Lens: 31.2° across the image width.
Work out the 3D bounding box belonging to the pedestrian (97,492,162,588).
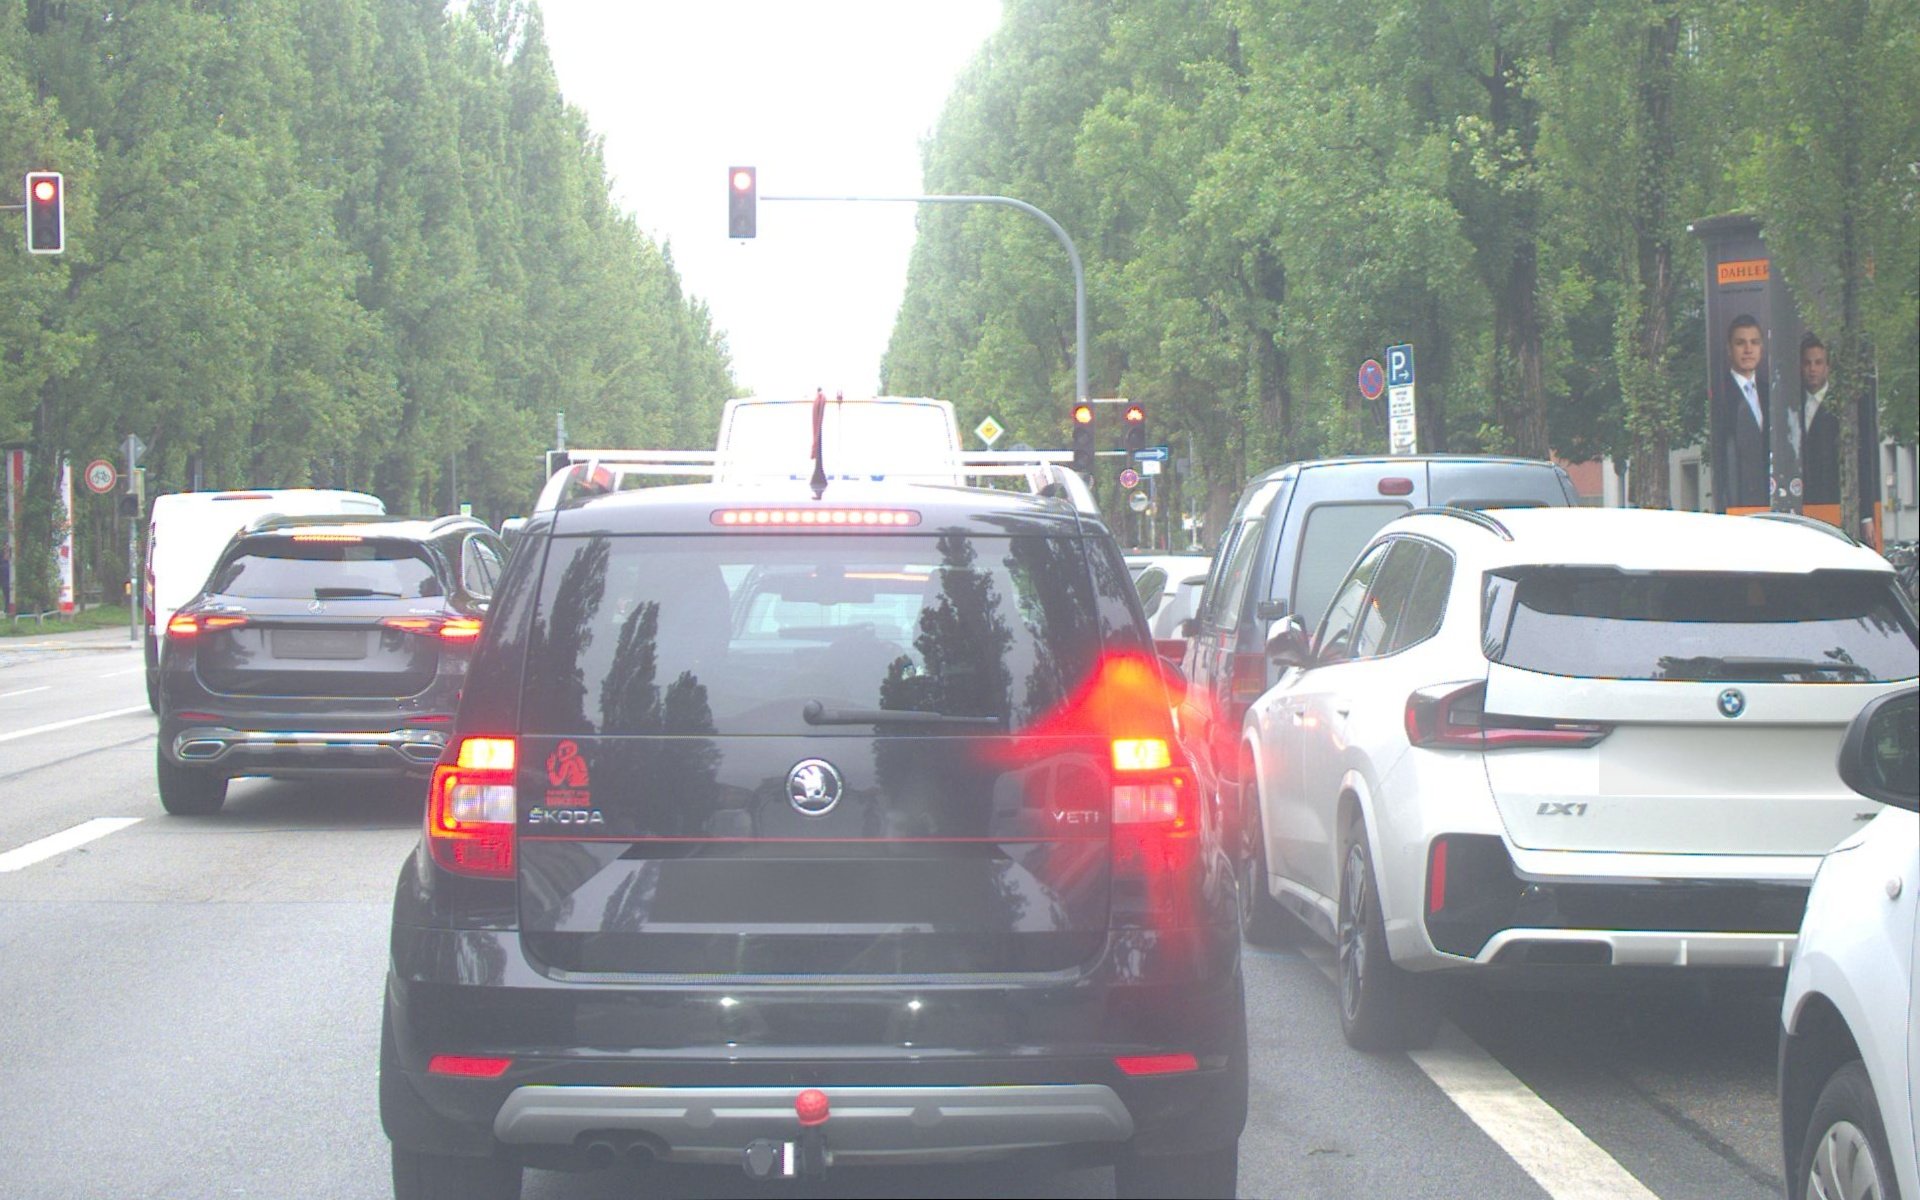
[{"bbox_3d":[-15.465,-1.120,64.001,0.880,1.758,0.878,-1,1,8],"label":"pedestrian"}]

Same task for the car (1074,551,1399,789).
[{"bbox_3d":[1.740,0.399,22.646,1.735,1.382,3.563,-1,1,-2],"label":"car"}]

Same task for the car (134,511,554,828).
[{"bbox_3d":[-3.400,0.311,19.672,1.781,1.614,4.025,0,1,-2],"label":"car"}]

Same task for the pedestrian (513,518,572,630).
[{"bbox_3d":[-7.656,-0.482,63.047,0.885,2.007,1.013,-1,1,2],"label":"pedestrian"}]

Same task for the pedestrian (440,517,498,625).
[{"bbox_3d":[-9.307,-0.555,65.153,0.885,2.007,1.013,-1,1,2],"label":"pedestrian"}]

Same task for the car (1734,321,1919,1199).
[{"bbox_3d":[2.413,0.531,4.165,1.851,1.875,4.169,-1,1,-2],"label":"car"}]

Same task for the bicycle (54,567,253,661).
[{"bbox_3d":[-11.132,0.189,47.463,2.536,1.233,0.812,-1,1,9],"label":"bicycle"}]

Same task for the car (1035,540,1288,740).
[{"bbox_3d":[1.575,0.274,27.945,1.735,1.470,3.563,-1,1,-2],"label":"car"}]

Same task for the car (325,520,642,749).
[{"bbox_3d":[-3.539,0.197,26.204,1.993,1.555,4.001,-1,2,-2],"label":"car"}]

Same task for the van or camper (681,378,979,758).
[{"bbox_3d":[-0.986,-0.262,25.244,1.975,2.539,4.025,-1,1,-3],"label":"van or camper"}]

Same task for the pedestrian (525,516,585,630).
[{"bbox_3d":[-7.295,-0.493,61.961,0.885,2.007,1.013,-1,1,2],"label":"pedestrian"}]

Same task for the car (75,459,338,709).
[{"bbox_3d":[-6.819,-0.178,31.468,1.781,2.104,4.025,-1,1,-5],"label":"car"}]

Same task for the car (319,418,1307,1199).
[{"bbox_3d":[-0.331,0.516,8.568,1.855,1.764,4.000,1,1,-1],"label":"car"}]

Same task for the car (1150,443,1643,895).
[{"bbox_3d":[1.962,0.242,16.569,1.735,1.888,4.025,-1,1,-2],"label":"car"}]

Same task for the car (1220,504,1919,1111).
[{"bbox_3d":[1.943,0.498,11.232,1.741,1.587,4.212,-1,1,-1],"label":"car"}]
